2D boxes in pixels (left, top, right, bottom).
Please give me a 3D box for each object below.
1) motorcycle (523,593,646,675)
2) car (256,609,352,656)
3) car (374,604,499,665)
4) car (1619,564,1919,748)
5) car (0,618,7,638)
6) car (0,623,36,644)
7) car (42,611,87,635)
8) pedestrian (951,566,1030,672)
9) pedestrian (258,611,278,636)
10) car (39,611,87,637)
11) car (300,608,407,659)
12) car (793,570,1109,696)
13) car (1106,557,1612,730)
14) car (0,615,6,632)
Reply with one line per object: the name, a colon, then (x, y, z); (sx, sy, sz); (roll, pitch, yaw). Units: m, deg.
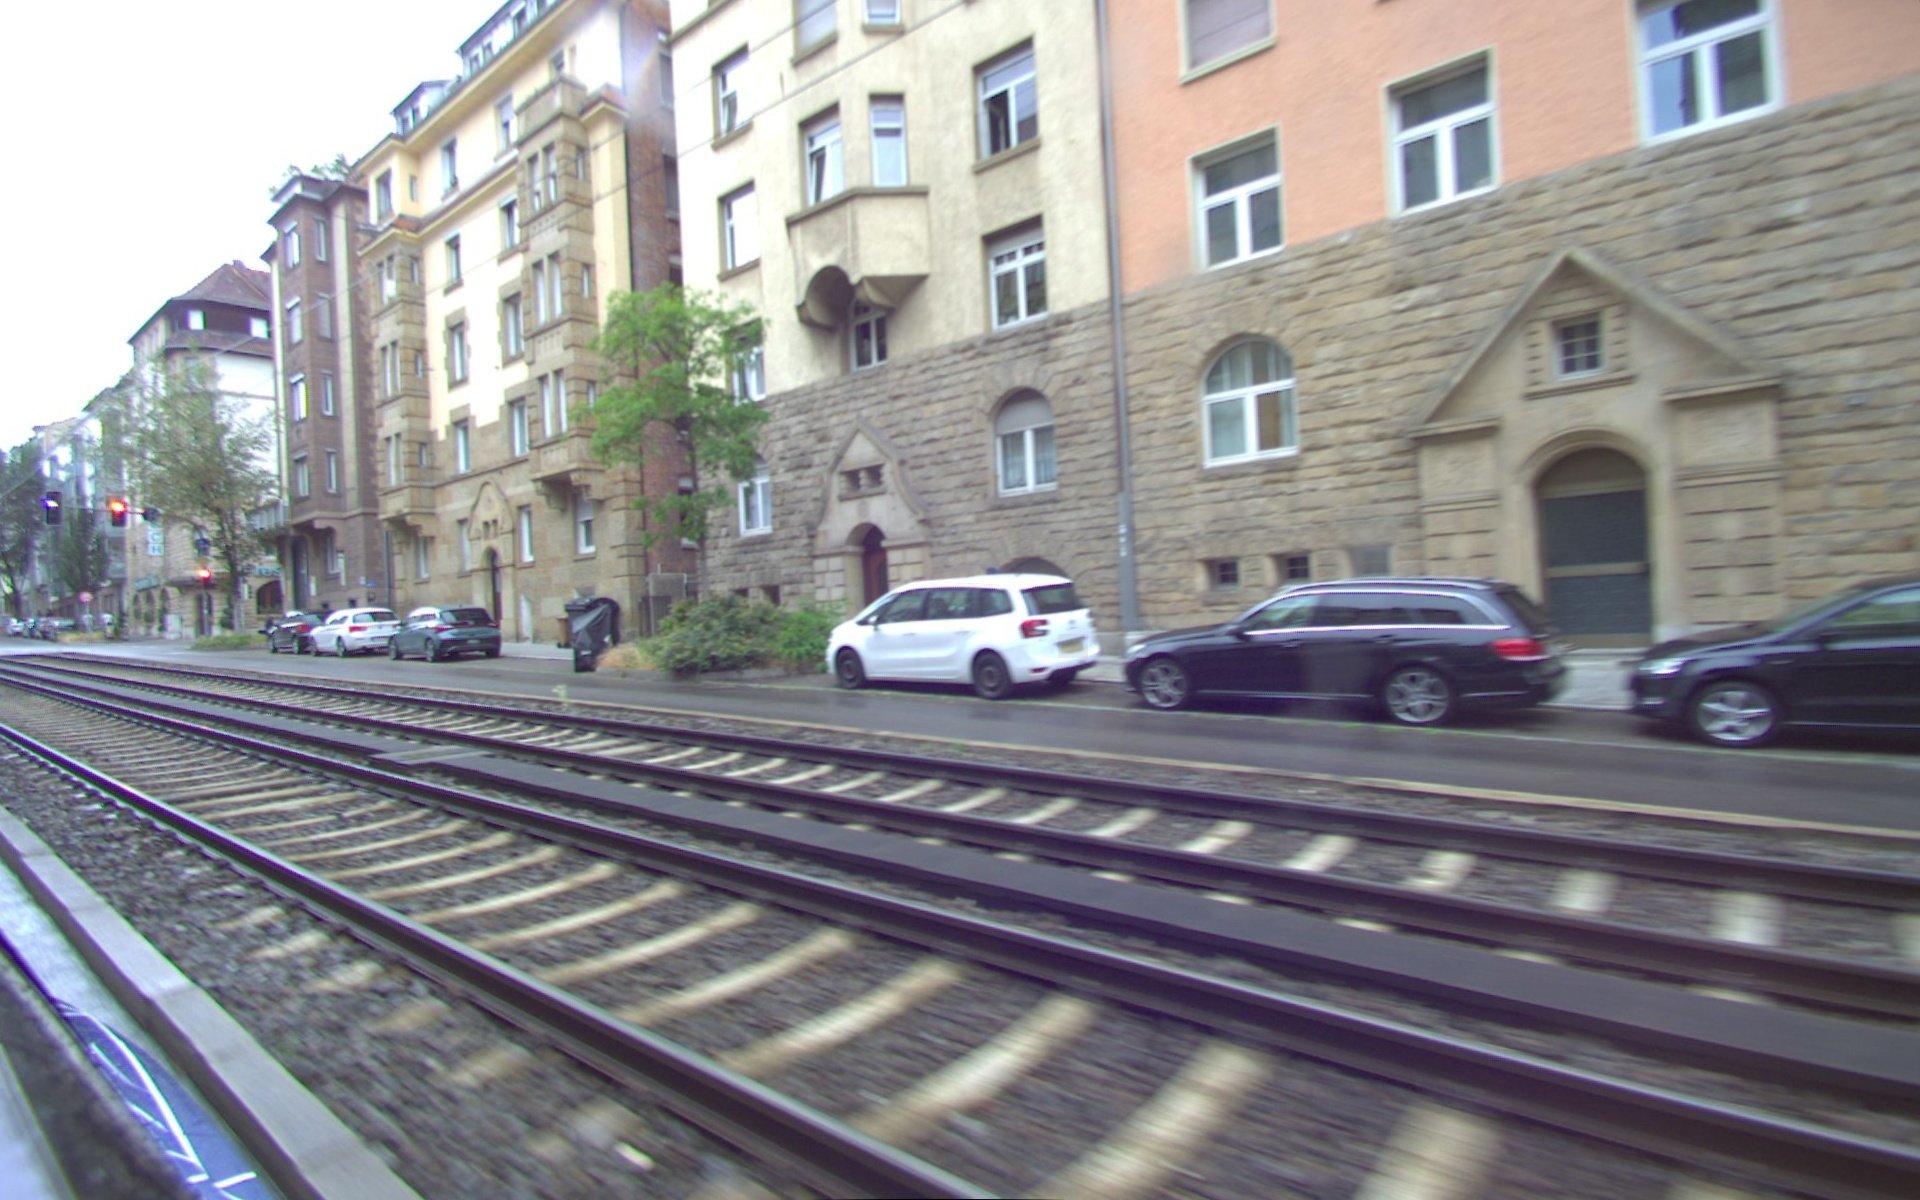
motorcycle: (-8.187, 0.710, 22.193); (1.285, 1.655, 2.249); (-2, 1, 23)
car: (-22.634, 1.068, 34.879); (3.998, 1.497, 1.746); (0, 1, 41)
car: (-14.256, 0.903, 27.452); (4.143, 1.448, 1.545); (-1, 2, 41)
car: (7.918, 0.417, 8.491); (3.878, 1.408, 1.627); (-1, 1, 38)
car: (-80.477, 2.340, 83.769); (4.155, 1.581, 1.759); (-1, 1, 40)
car: (-71.563, 2.505, 76.769); (4.128, 1.345, 1.685); (0, 3, 41)
car: (-60.217, 1.557, 68.030); (3.523, 1.509, 1.789); (-1, 0, 40)
pedestrian: (0.539, 0.317, 17.675); (0.923, 1.766, 0.998); (-1, 2, 37)
pedestrian: (-41.092, 1.384, 60.057); (0.721, 1.426, 0.808); (-2, 1, 44)
car: (-57.490, 1.498, 64.860); (3.892, 1.564, 1.747); (-1, 1, 40)
car: (-18.820, 1.008, 31.346); (4.261, 1.436, 1.649); (-1, 1, 42)
car: (-0.186, 0.451, 14.902); (4.334, 1.601, 1.772); (-1, 2, 31)
car: (4.340, 0.413, 11.509); (4.969, 1.520, 1.974); (-2, 2, 40)
car: (-85.580, 2.113, 89.020); (4.465, 1.451, 1.887); (-1, 1, 40)
